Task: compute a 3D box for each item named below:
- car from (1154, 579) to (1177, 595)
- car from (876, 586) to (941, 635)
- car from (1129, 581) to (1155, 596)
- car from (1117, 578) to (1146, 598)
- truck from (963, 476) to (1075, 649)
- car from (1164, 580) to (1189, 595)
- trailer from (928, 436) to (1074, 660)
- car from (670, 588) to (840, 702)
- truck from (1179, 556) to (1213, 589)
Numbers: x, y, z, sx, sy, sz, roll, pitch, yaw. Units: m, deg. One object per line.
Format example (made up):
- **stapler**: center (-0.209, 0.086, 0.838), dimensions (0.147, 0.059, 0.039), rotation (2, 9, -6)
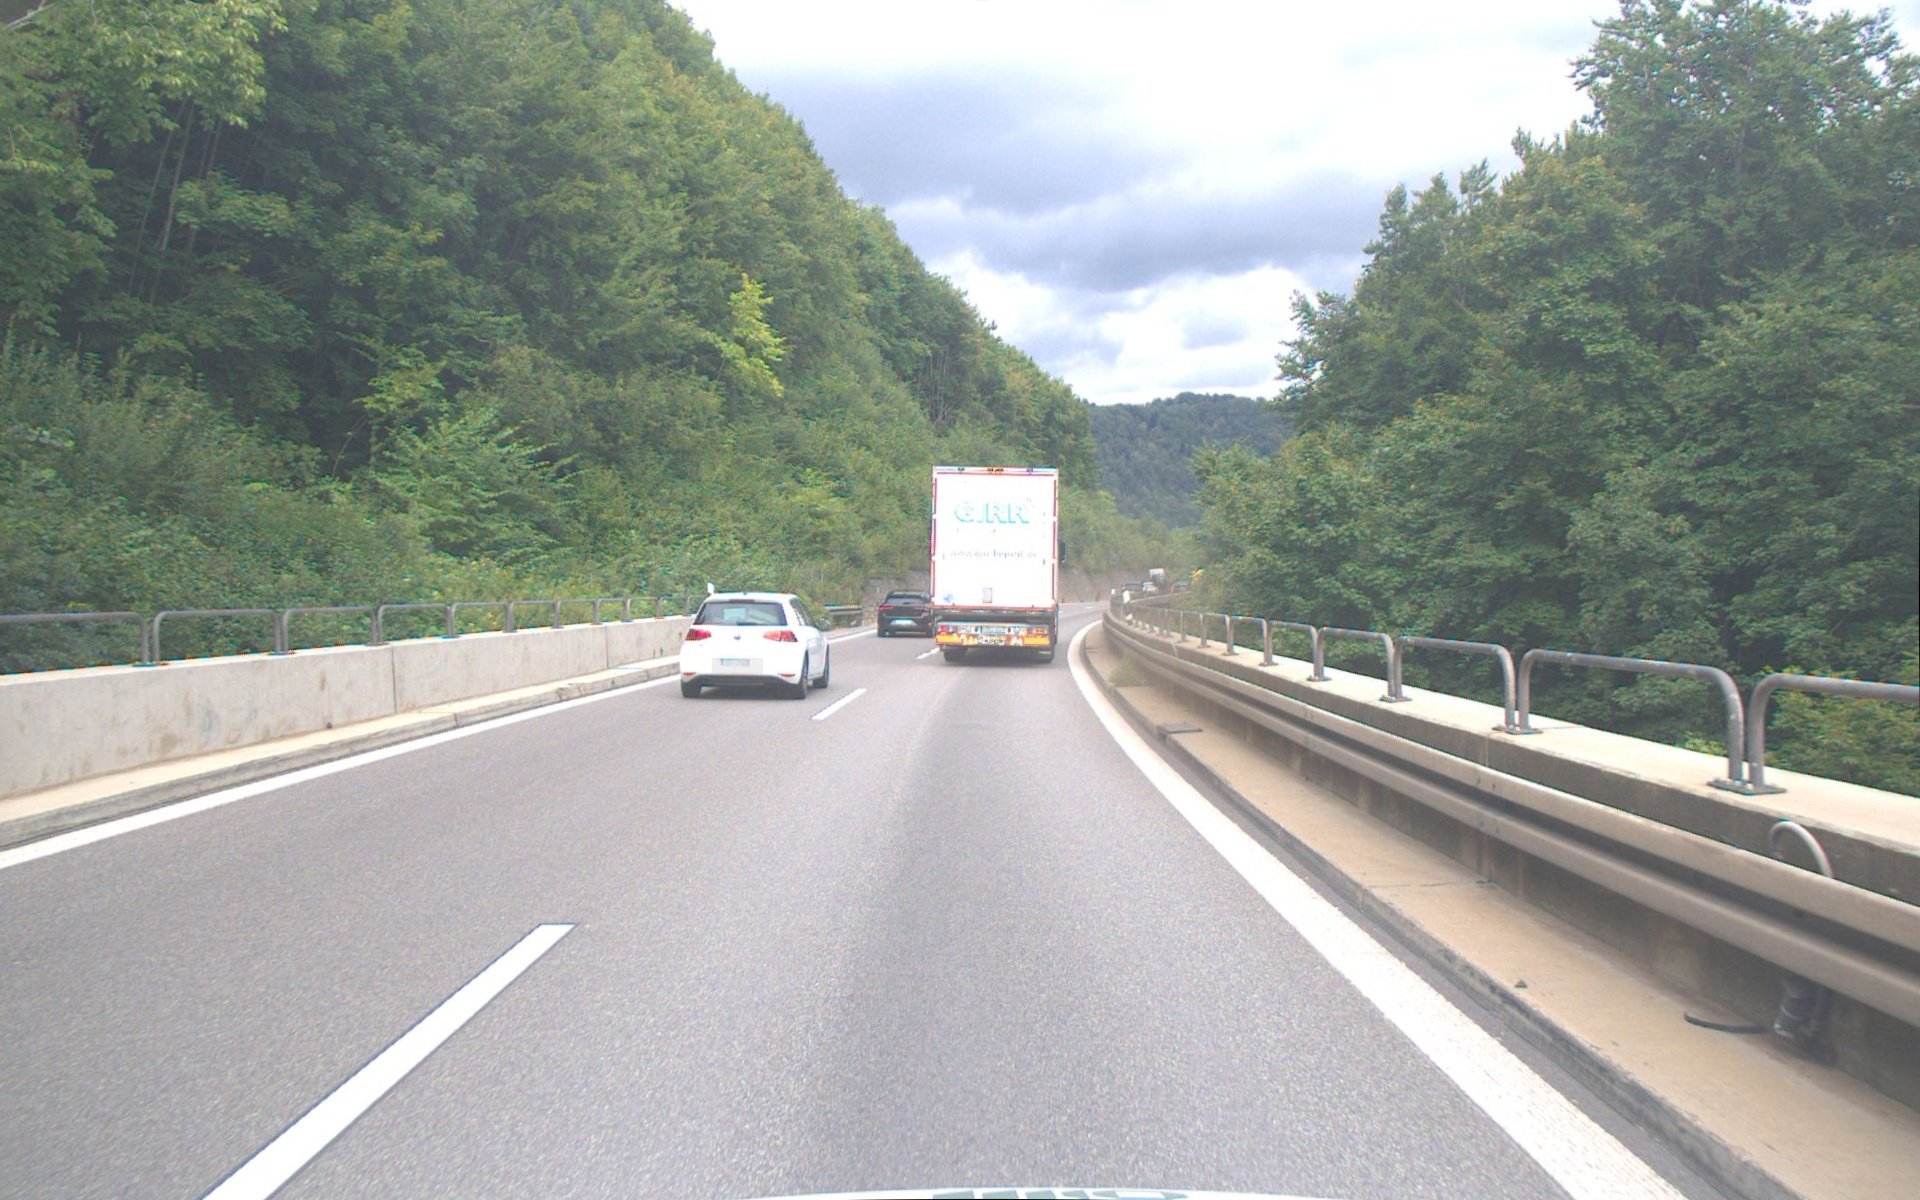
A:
- **car**: center (23.087, -1.456, 185.731), dimensions (1.951, 1.814, 4.002), rotation (1, 0, 17)
- **car**: center (-1.583, 0.343, 52.489), dimensions (1.736, 1.486, 4.583), rotation (0, 0, 2)
- **car**: center (18.601, -1.184, 168.564), dimensions (1.951, 1.512, 4.002), rotation (1, 0, 16)
- **car**: center (14.569, -0.975, 140.604), dimensions (1.951, 1.593, 4.003), rotation (-1, -1, 13)
- **truck**: center (1.711, -0.927, 45.301), dimensions (2.754, 4.378, 6.262), rotation (-1, -1, 4)
- **car**: center (21.905, -1.246, 167.166), dimensions (1.951, 1.512, 4.002), rotation (1, 0, 16)
- **trailer**: center (1.228, -0.969, 38.844), dimensions (2.754, 4.378, 12.250), rotation (-1, -1, 4)
- **car**: center (-2.894, 0.586, 24.302), dimensions (1.807, 1.507, 4.629), rotation (0, 0, 1)
- **truck**: center (30.119, -3.493, 210.858), dimensions (2.455, 3.926, 8.136), rotation (-1, -1, 21)
